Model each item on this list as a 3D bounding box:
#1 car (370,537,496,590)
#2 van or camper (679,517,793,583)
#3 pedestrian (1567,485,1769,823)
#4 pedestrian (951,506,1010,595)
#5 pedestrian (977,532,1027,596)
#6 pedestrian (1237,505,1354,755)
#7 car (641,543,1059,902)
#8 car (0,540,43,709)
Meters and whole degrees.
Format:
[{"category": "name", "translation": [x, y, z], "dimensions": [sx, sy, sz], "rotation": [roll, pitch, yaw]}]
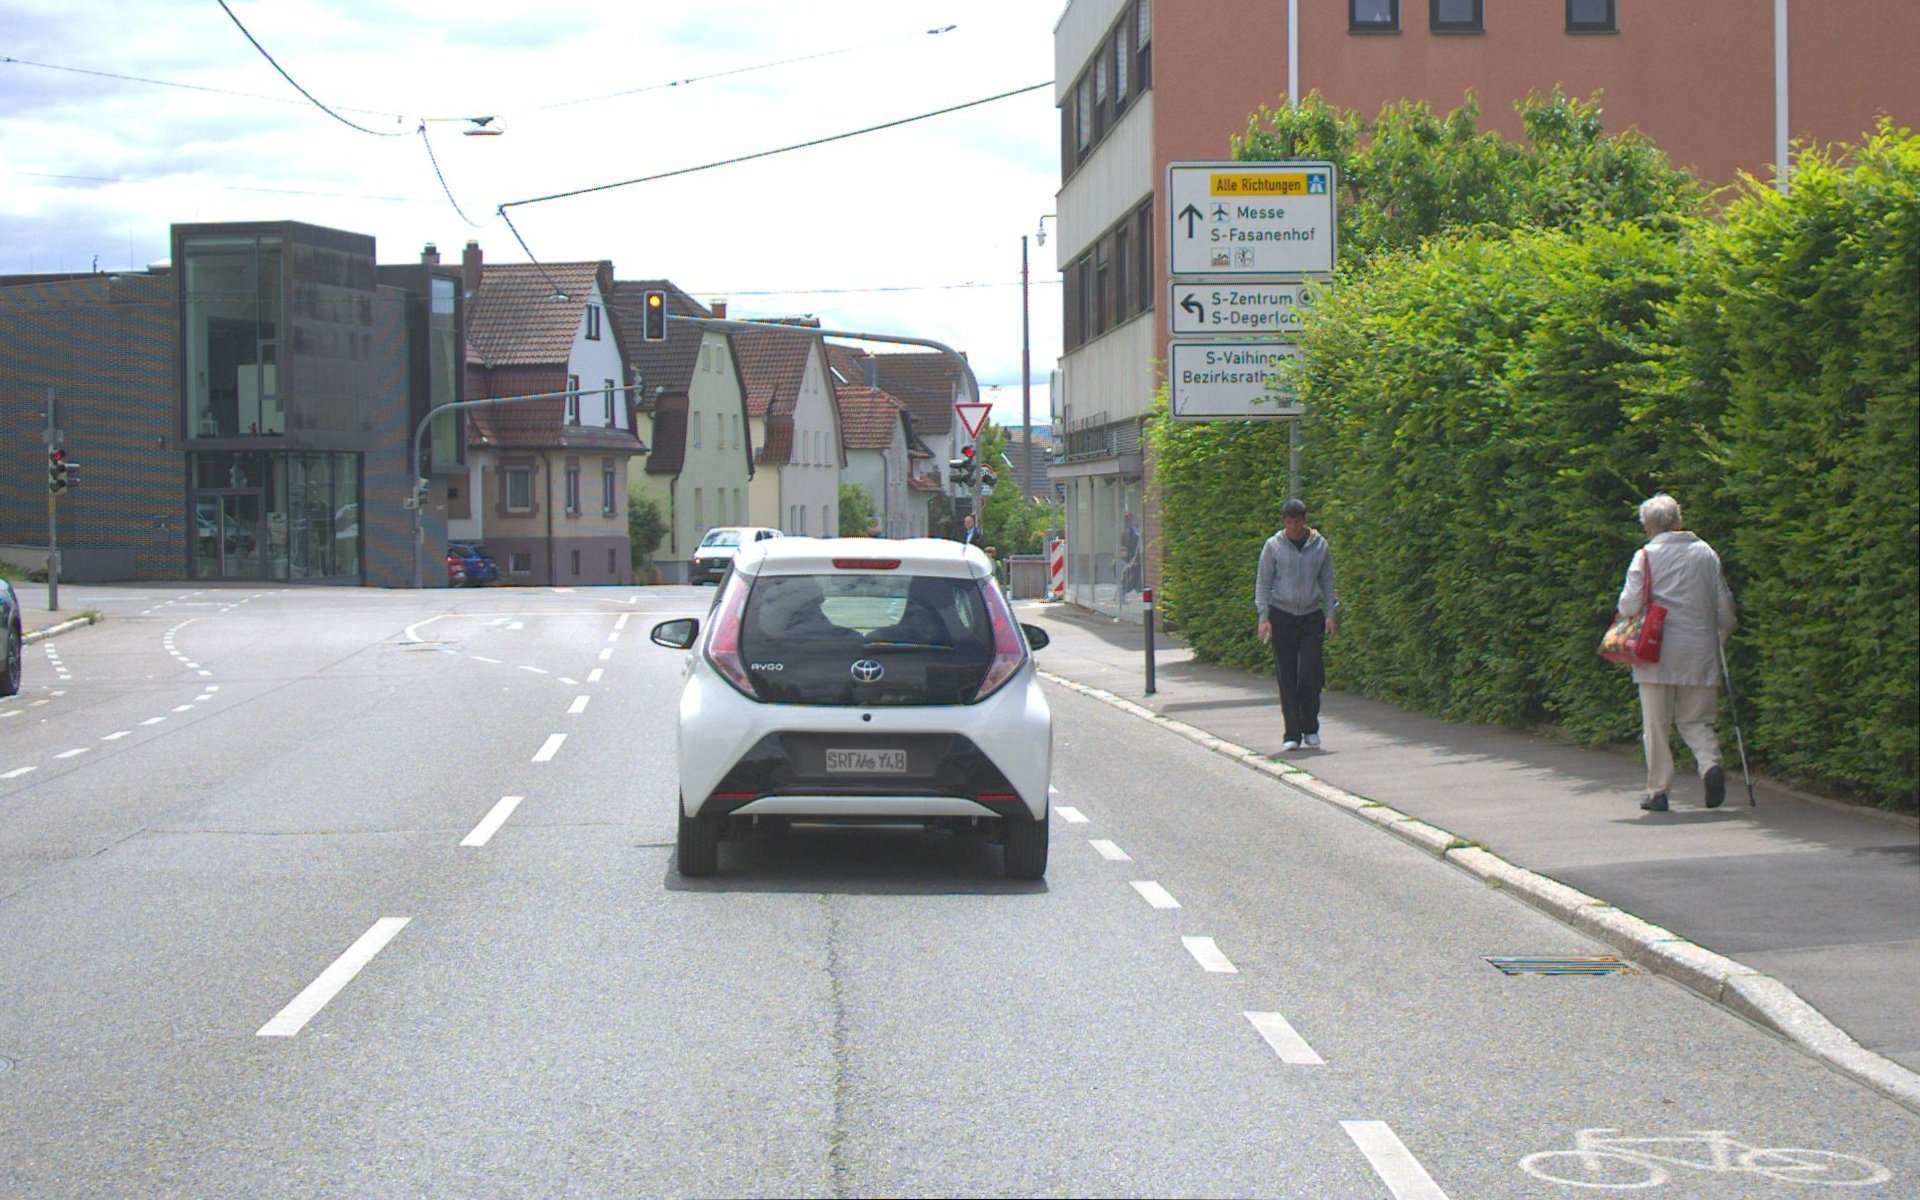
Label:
[{"category": "car", "translation": [-16.831, -1.179, 109.888], "dimensions": [3.616, 1.600, 1.691], "rotation": [2, 1, 8]}, {"category": "van or camper", "translation": [-6.807, -1.507, 105.107], "dimensions": [2.116, 1.919, 5.283], "rotation": [2, 1, 11]}, {"category": "pedestrian", "translation": [3.486, 0.255, 16.970], "dimensions": [0.799, 1.612, 0.653], "rotation": [-2, 1, -2]}, {"category": "pedestrian", "translation": [0.405, -0.968, 67.225], "dimensions": [0.822, 1.715, 0.817], "rotation": [-1, 1, -35]}, {"category": "pedestrian", "translation": [0.812, -0.701, 66.611], "dimensions": [0.733, 1.217, 0.646], "rotation": [-1, 1, -35]}, {"category": "pedestrian", "translation": [2.216, 0.186, 22.761], "dimensions": [0.602, 1.600, 0.836], "rotation": [-2, 1, -2]}, {"category": "car", "translation": [-0.525, 0.483, 15.856], "dimensions": [1.697, 1.451, 3.299], "rotation": [1, 1, -3]}, {"category": "car", "translation": [-9.994, 0.244, 32.131], "dimensions": [1.993, 1.582, 4.490], "rotation": [-1, 1, -5]}]
